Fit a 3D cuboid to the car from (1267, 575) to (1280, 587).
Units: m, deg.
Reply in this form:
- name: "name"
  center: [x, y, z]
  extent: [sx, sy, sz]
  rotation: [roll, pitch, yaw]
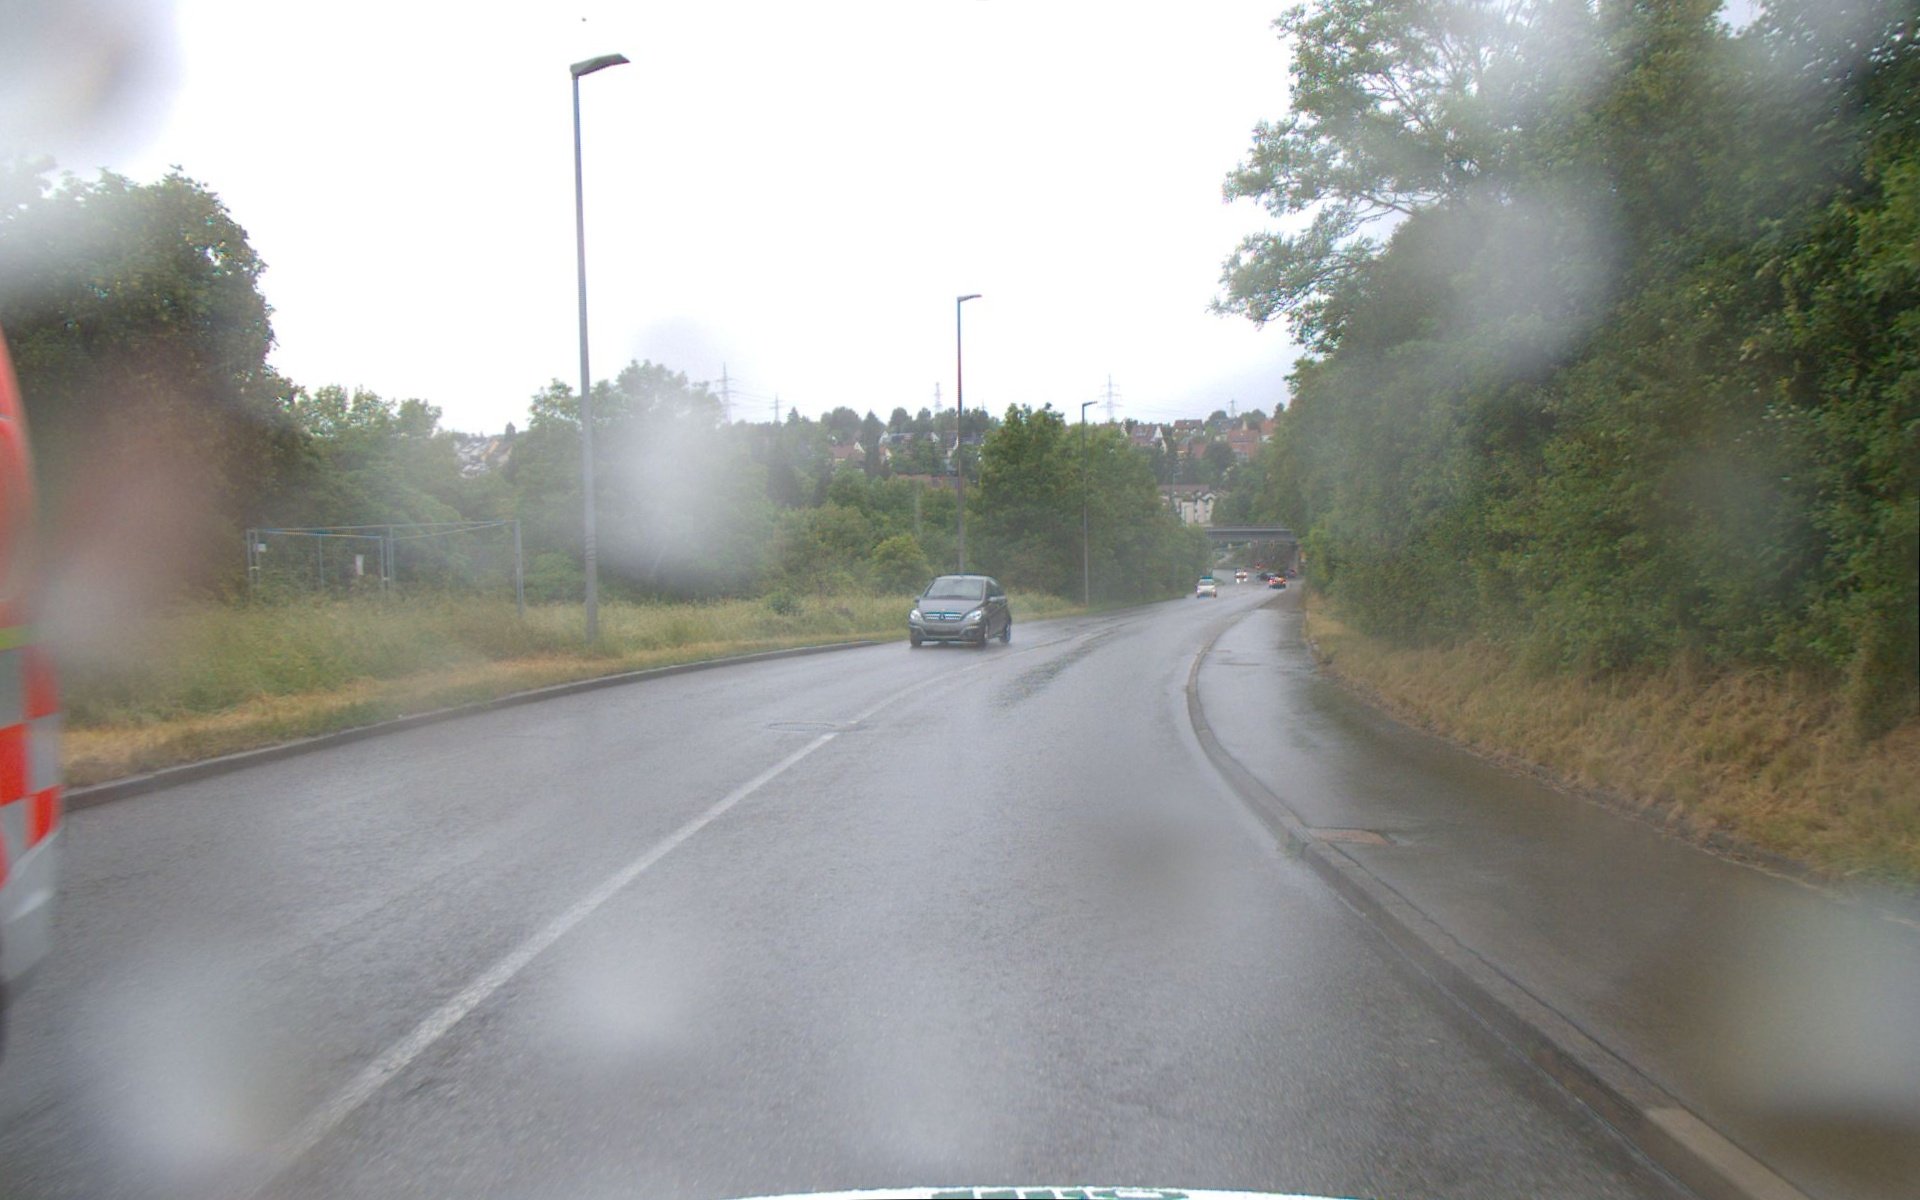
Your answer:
- name: "car"
  center: [44.510, -2.646, 234.738]
  extent: [1.730, 1.590, 4.004]
  rotation: [-2, 0, 12]

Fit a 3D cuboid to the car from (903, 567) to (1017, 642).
- name: "car"
  center: [0.059, 0.082, 38.259]
  extent: [1.824, 1.579, 4.270]
  rotation: [1, 1, 11]

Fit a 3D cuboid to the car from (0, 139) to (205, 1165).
- name: "car"
  center: [-3.296, 0.130, 2.285]
  extent: [2.003, 2.460, 5.455]
  rotation: [1, 0, 0]

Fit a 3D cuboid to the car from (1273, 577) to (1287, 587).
- name: "car"
  center: [44.073, -2.481, 227.906]
  extent: [1.730, 1.404, 4.004]
  rotation: [-2, 0, 12]

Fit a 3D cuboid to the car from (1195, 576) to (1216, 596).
- name: "car"
  center: [20.144, -1.149, 135.770]
  extent: [1.604, 1.514, 3.457]
  rotation: [-2, 0, 8]
